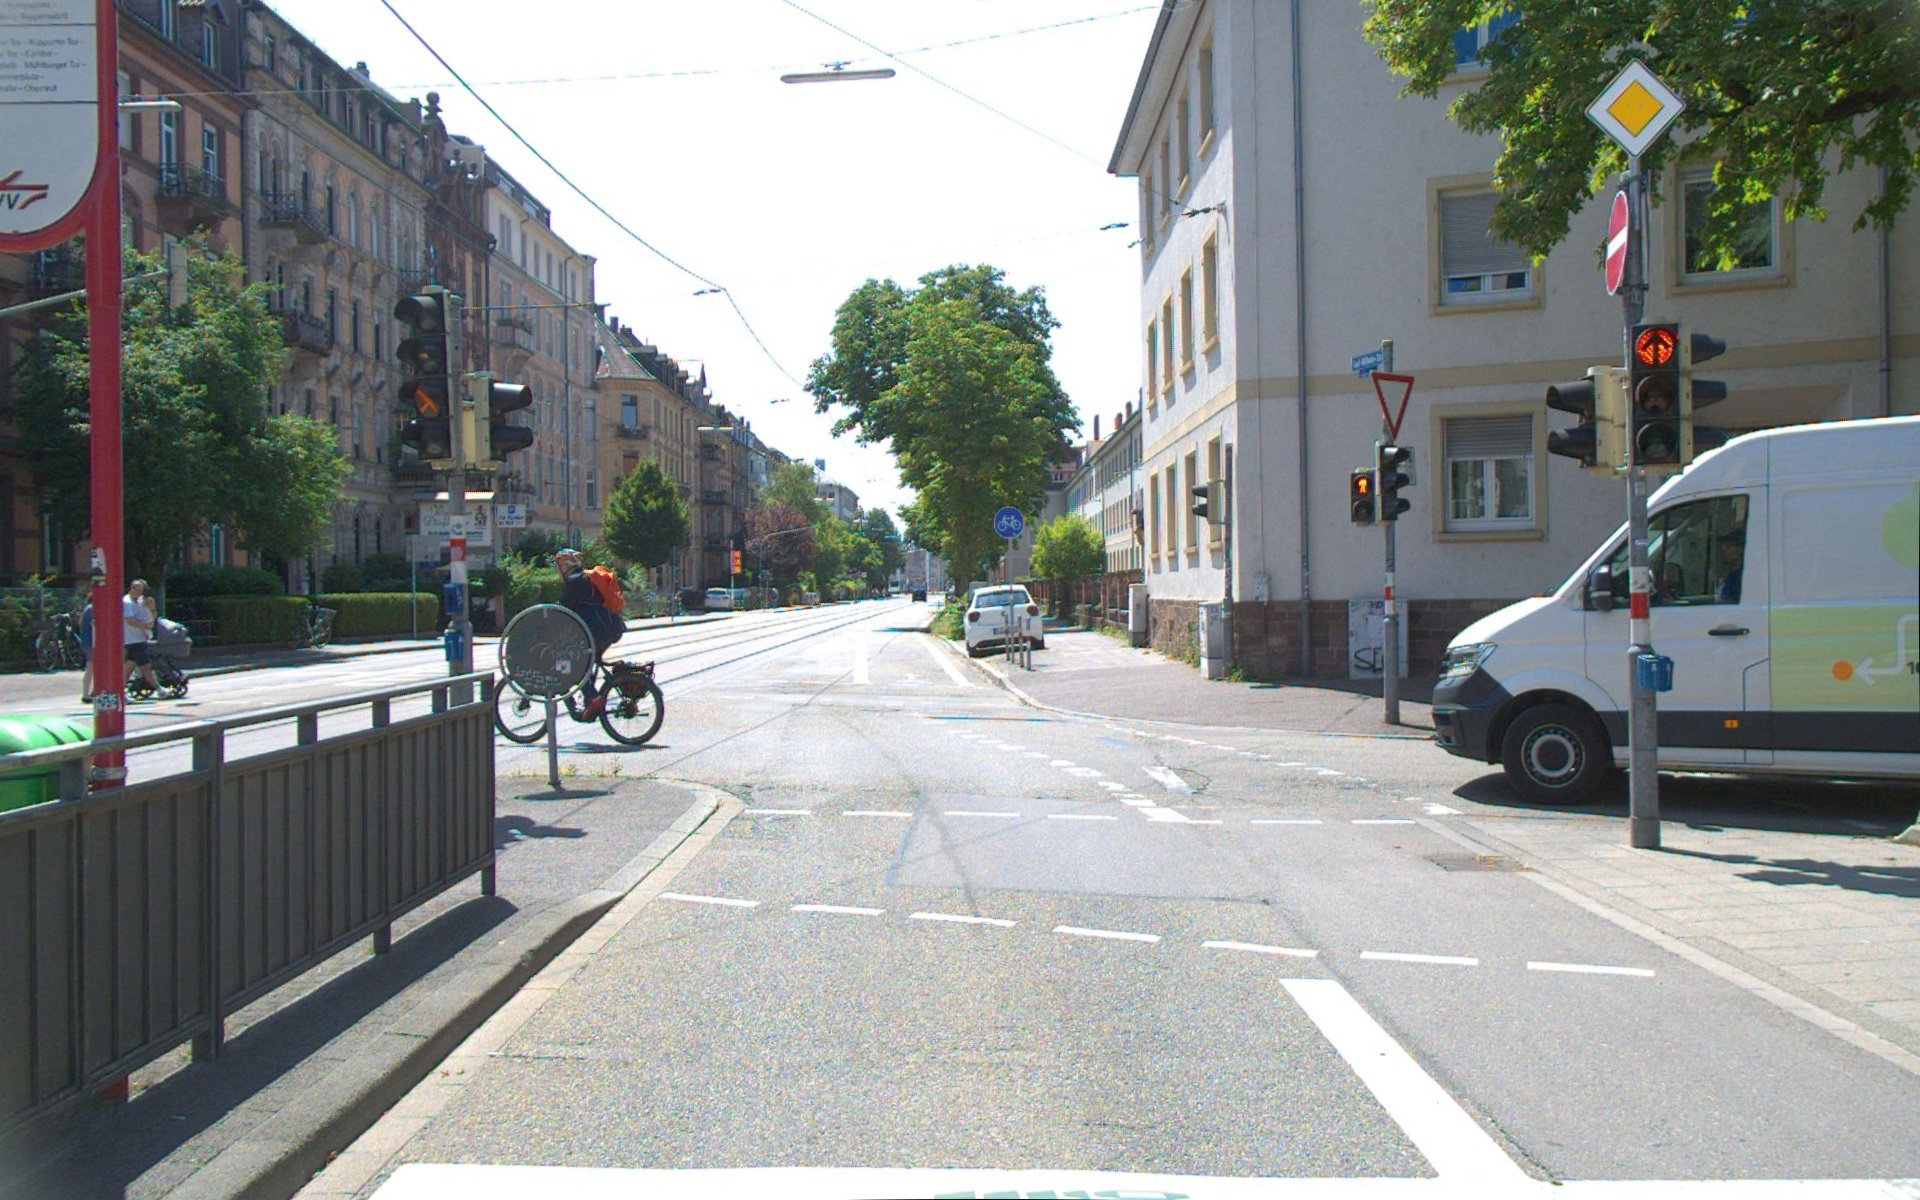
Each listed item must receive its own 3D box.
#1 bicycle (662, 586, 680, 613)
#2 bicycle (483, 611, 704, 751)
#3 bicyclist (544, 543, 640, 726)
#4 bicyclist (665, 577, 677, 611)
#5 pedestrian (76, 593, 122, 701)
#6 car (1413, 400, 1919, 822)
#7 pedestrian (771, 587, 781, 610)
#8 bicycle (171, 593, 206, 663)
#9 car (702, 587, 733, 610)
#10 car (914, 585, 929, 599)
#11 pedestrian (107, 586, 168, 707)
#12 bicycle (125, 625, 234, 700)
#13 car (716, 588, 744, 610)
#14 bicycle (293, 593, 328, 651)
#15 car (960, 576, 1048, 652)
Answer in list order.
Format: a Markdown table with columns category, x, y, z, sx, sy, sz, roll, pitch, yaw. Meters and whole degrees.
| category | x | y | z | sx | sy | sz | roll | pitch | yaw |
| --- | --- | --- | --- | --- | --- | --- | --- | --- | --- |
| bicycle | -15.357 | -0.017 | 87.938 | 0.565 | 1.412 | 2.500 | 0 | 0 | -1 |
| bicycle | -3.444 | 0.731 | 15.531 | 2.037 | 1.258 | 0.581 | 0 | 0 | 20 |
| bicyclist | -3.450 | 0.315 | 15.525 | 0.679 | 1.675 | 0.580 | 0 | 0 | 20 |
| bicyclist | -15.347 | -0.337 | 87.892 | 0.531 | 1.794 | 0.498 | 0 | 0 | -1 |
| pedestrian | -12.524 | 0.676 | 24.064 | 0.503 | 1.543 | 0.462 | 0 | 0 | -43 |
| car | 6.248 | 0.056 | 11.328 | 5.729 | 2.635 | 1.994 | -1 | 0 | 34 |
| pedestrian | -14.228 | -0.146 | 127.862 | 0.664 | 1.758 | 0.677 | 0 | 0 | -1 |
| bicycle | -16.308 | 0.571 | 34.951 | 0.607 | 1.420 | 2.288 | 0 | 0 | -27 |
| car | -16.880 | -0.087 | 115.338 | 1.651 | 1.498 | 3.936 | -4 | 0 | -3 |
| car | -4.330 | -0.876 | 185.757 | 1.494 | 1.469 | 3.364 | -2 | 0 | 0 |
| pedestrian | -11.516 | 0.639 | 23.148 | 0.648 | 1.643 | 0.462 | 0 | 2 | -43 |
| bicycle | -11.403 | 0.899 | 24.174 | 1.390 | 1.031 | 0.383 | -1 | 0 | -41 |
| car | -17.079 | -0.095 | 122.925 | 1.596 | 1.498 | 3.562 | -4 | 0 | -3 |
| bicycle | -15.917 | 0.533 | 40.488 | 0.584 | 1.380 | 2.419 | 0 | 0 | -27 |
| car | 0.934 | 0.307 | 37.178 | 1.712 | 1.498 | 3.937 | -4 | 0 | -1 |
